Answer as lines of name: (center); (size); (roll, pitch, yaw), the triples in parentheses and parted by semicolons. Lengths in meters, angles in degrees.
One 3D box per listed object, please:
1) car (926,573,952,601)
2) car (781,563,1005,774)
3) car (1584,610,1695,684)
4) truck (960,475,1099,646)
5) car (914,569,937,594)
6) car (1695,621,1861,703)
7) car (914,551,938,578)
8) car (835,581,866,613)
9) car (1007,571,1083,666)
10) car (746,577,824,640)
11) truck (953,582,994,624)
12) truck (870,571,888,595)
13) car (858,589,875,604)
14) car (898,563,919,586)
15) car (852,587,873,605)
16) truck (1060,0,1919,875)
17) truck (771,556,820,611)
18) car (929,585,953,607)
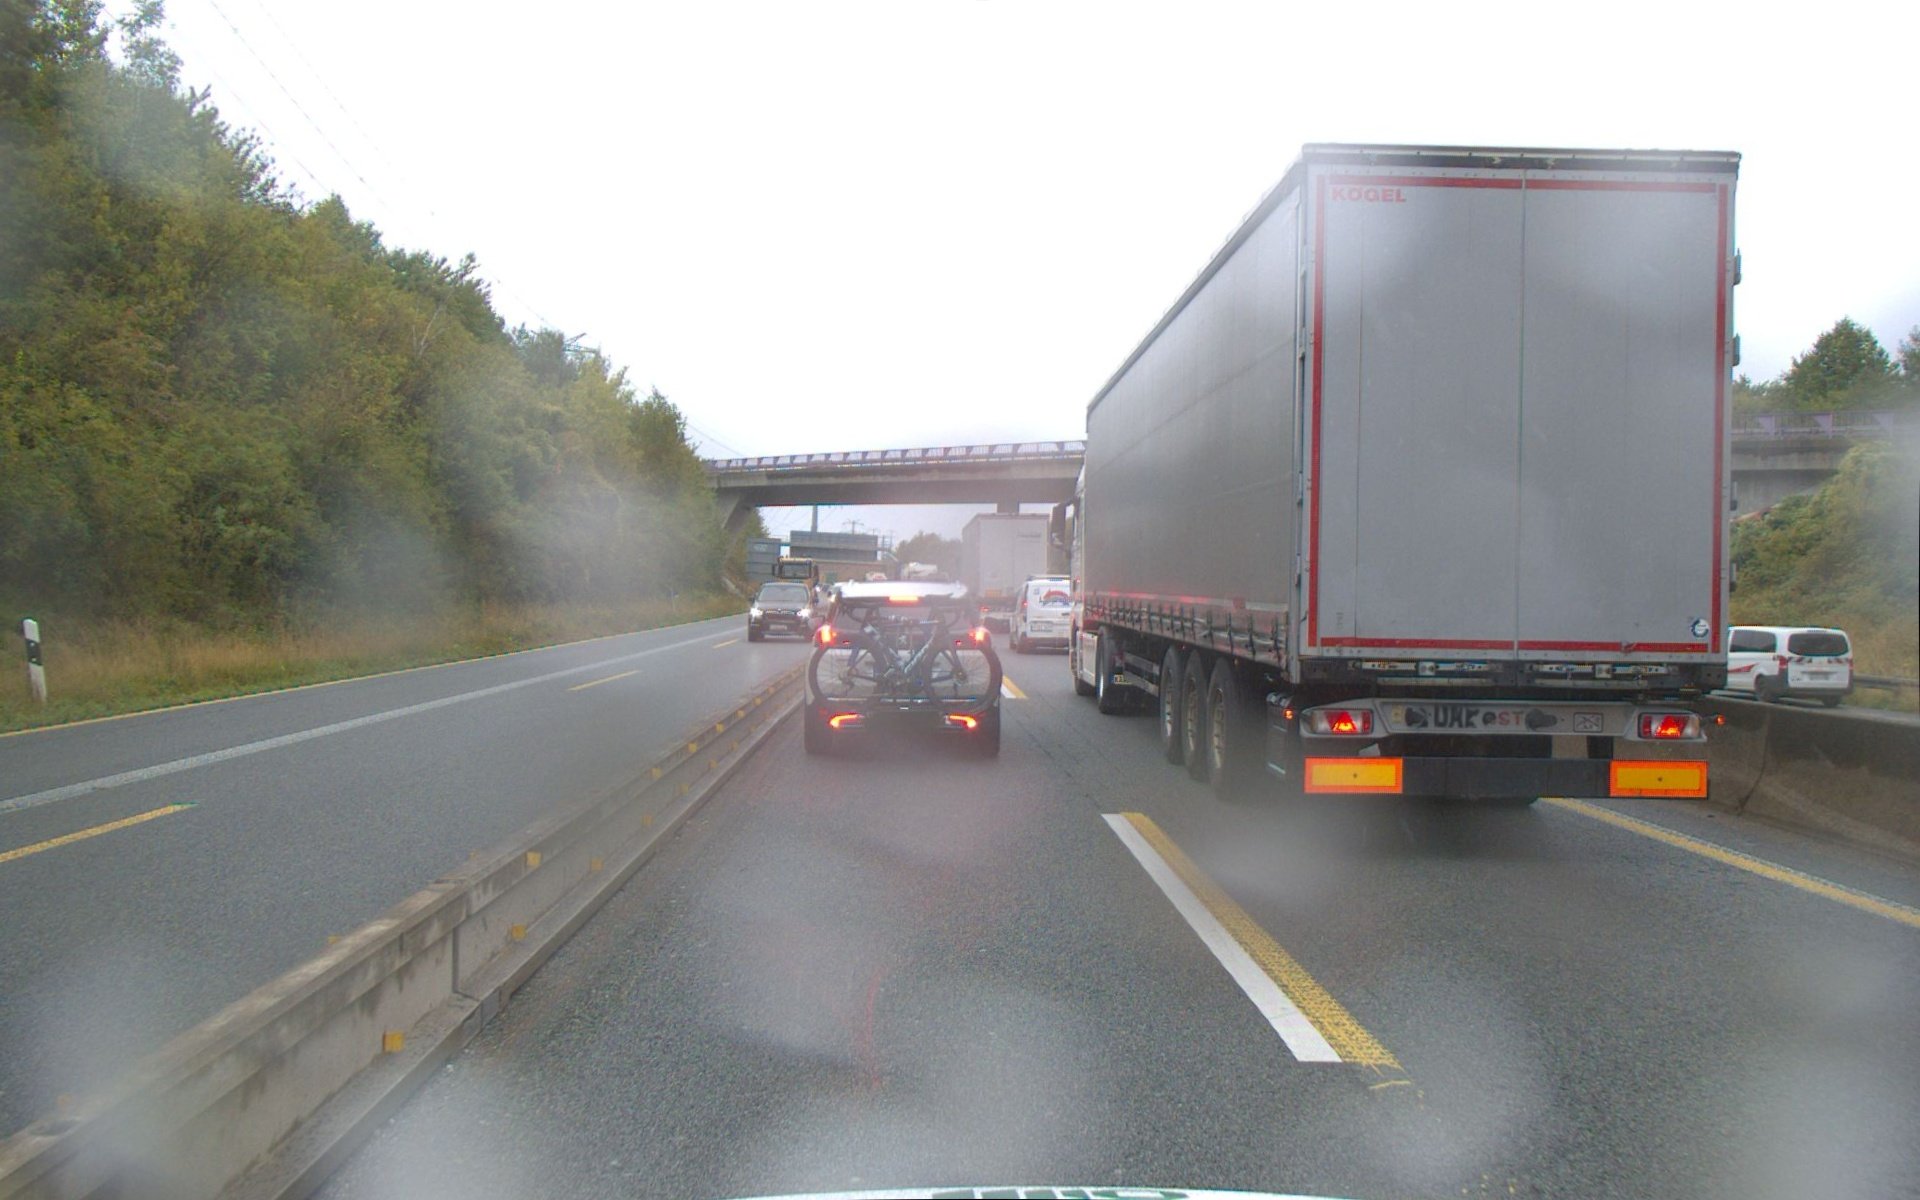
car: (-1.639, -0.997, 128.177); (1.953, 2.049, 3.999); (1, 0, -1)
car: (-0.539, 0.551, 15.599); (1.773, 1.666, 4.635); (1, 0, 0)
car: (20.373, 1.379, 49.783); (1.693, 2.094, 4.124); (1, 0, 1)
truck: (2.375, -1.350, 66.642); (4.646, 5.772, 20.374); (1, 0, 0)
car: (-2.931, -1.519, 140.655); (1.953, 2.049, 3.999); (1, 0, -1)
car: (20.540, 1.506, 41.768); (1.902, 1.861, 4.727); (1, 0, 1)
car: (-3.181, -3.269, 153.567); (2.194, 2.347, 4.571); (1, 0, -1)
car: (-6.533, -0.167, 99.196); (1.774, 1.856, 4.633); (1, 0, -3)
car: (2.071, 0.429, 41.223); (1.636, 2.218, 4.534); (1, 0, 0)
car: (-4.871, 0.240, 46.530); (1.773, 1.661, 4.117); (1, 0, -1)
truck: (0.650, 0.141, 84.020); (1.953, 2.049, 3.999); (1, 0, -1)
truck: (-11.910, -2.458, 243.507); (2.484, 3.411, 12.045); (1, 0, -2)
car: (-9.284, -0.311, 165.054); (1.652, 1.434, 3.928); (1, 0, -3)
car: (-5.088, -2.469, 163.504); (1.953, 2.164, 4.525); (1, 0, -1)
car: (-8.207, -0.325, 139.389); (1.652, 1.434, 3.928); (1, 0, -3)
truck: (3.742, -1.464, 18.796); (3.898, 5.772, 20.374); (1, 0, 0)
truck: (-10.866, -1.059, 110.134); (2.484, 3.411, 12.045); (1, 0, -2)
car: (-1.348, -0.278, 114.487); (1.605, 1.524, 3.665); (1, 0, -1)
